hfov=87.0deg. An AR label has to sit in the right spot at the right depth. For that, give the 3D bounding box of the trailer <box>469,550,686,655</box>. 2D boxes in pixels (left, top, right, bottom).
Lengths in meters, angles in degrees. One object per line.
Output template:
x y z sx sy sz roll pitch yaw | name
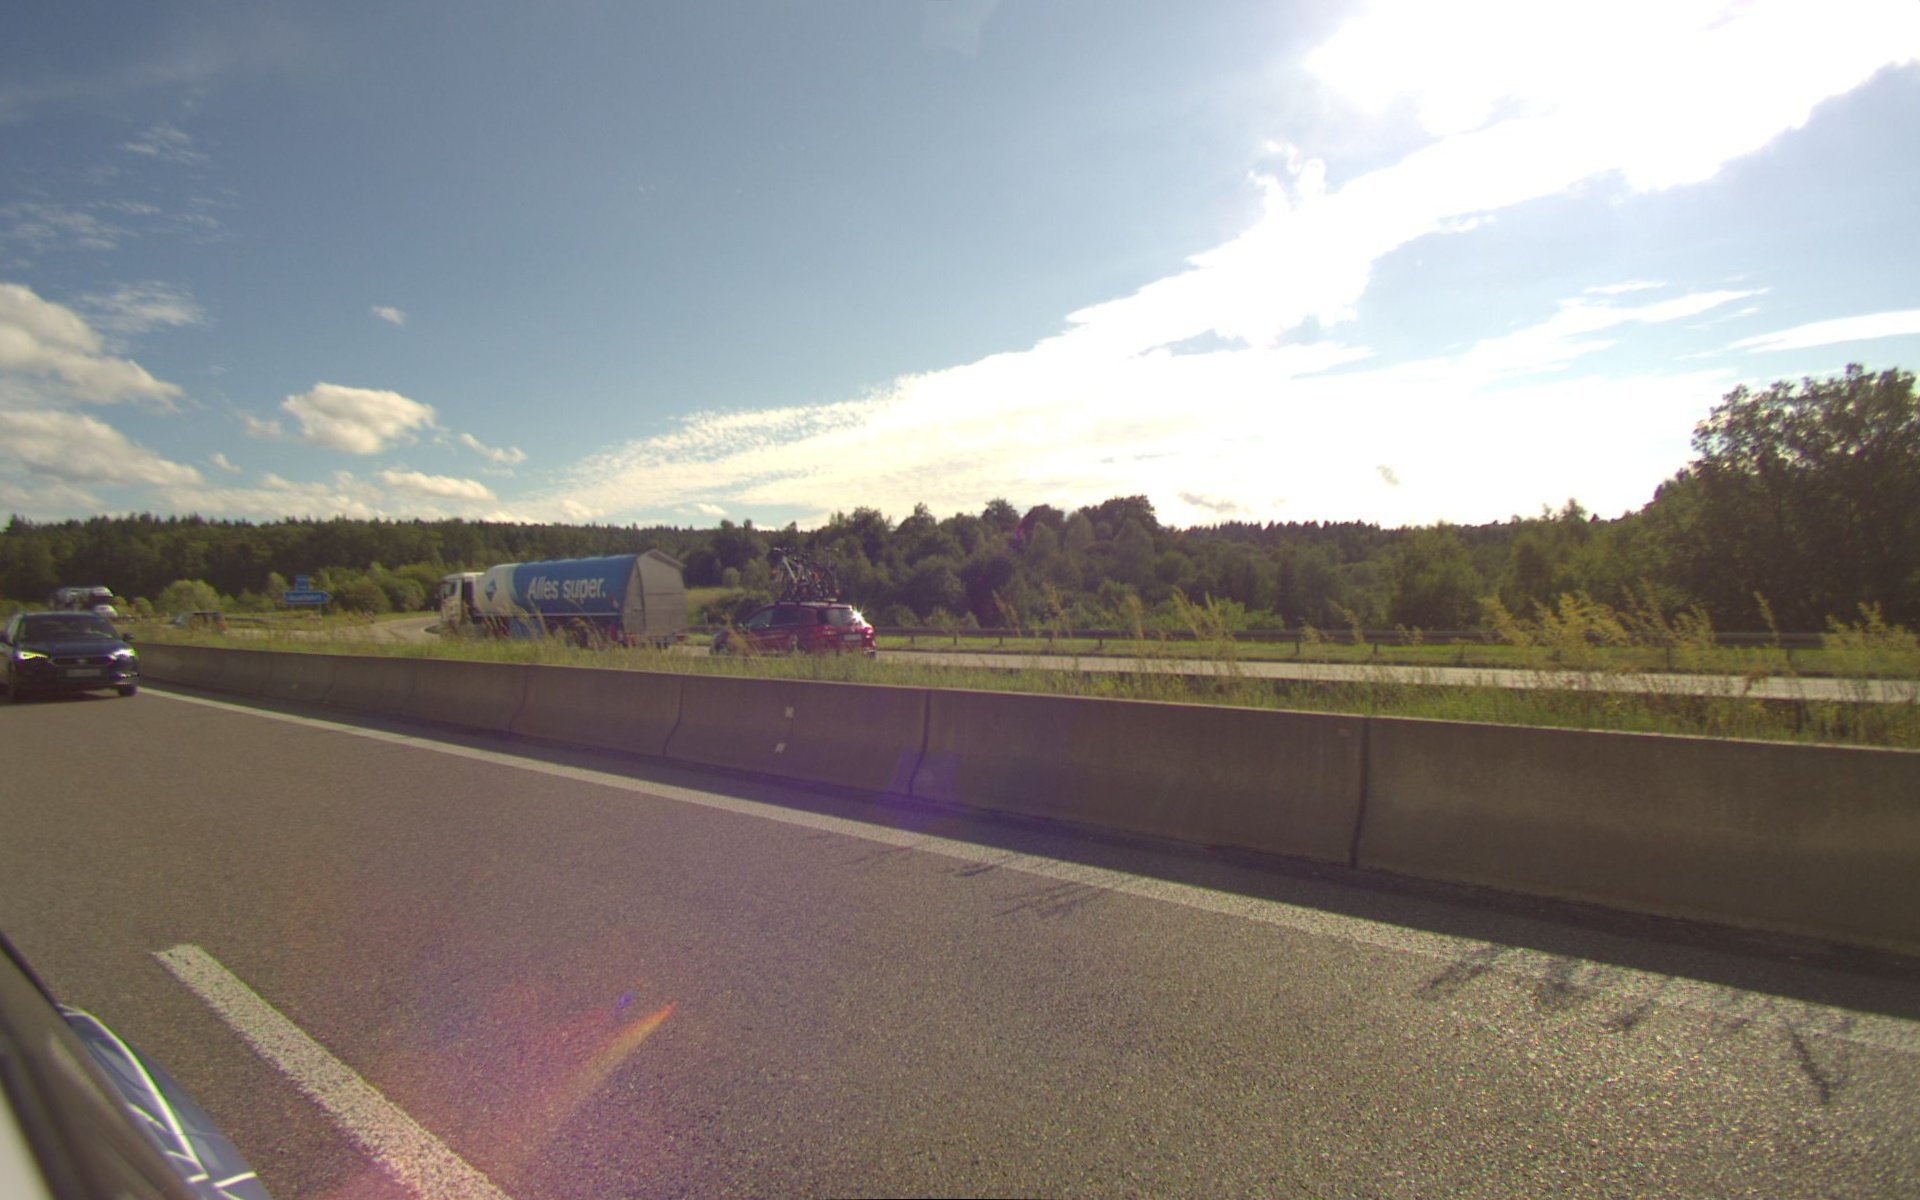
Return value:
-13.989 0.171 36.244 10.867 3.309 2.298 -1 -1 40 | trailer

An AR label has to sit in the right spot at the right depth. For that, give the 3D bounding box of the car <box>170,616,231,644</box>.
-38.491 1.494 51.268 3.707 1.291 1.673 -1 3 41 | car

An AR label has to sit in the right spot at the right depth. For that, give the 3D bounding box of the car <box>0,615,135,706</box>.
-17.439 1.079 19.508 4.157 1.554 1.756 -1 -1 42 | car

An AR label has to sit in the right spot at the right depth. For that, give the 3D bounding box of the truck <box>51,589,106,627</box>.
-90.552 0.869 103.870 11.127 3.717 2.802 -1 0 41 | truck

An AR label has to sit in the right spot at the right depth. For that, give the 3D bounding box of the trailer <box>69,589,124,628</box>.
-82.992 0.819 97.242 8.949 3.555 2.770 -1 0 41 | trailer

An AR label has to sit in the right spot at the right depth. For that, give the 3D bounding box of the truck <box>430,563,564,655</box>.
-18.370 0.327 39.973 6.100 3.298 2.294 -1 3 40 | truck

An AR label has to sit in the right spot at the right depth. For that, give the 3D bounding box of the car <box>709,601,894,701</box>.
-3.508 1.033 22.028 3.998 1.895 1.742 -1 3 41 | car
